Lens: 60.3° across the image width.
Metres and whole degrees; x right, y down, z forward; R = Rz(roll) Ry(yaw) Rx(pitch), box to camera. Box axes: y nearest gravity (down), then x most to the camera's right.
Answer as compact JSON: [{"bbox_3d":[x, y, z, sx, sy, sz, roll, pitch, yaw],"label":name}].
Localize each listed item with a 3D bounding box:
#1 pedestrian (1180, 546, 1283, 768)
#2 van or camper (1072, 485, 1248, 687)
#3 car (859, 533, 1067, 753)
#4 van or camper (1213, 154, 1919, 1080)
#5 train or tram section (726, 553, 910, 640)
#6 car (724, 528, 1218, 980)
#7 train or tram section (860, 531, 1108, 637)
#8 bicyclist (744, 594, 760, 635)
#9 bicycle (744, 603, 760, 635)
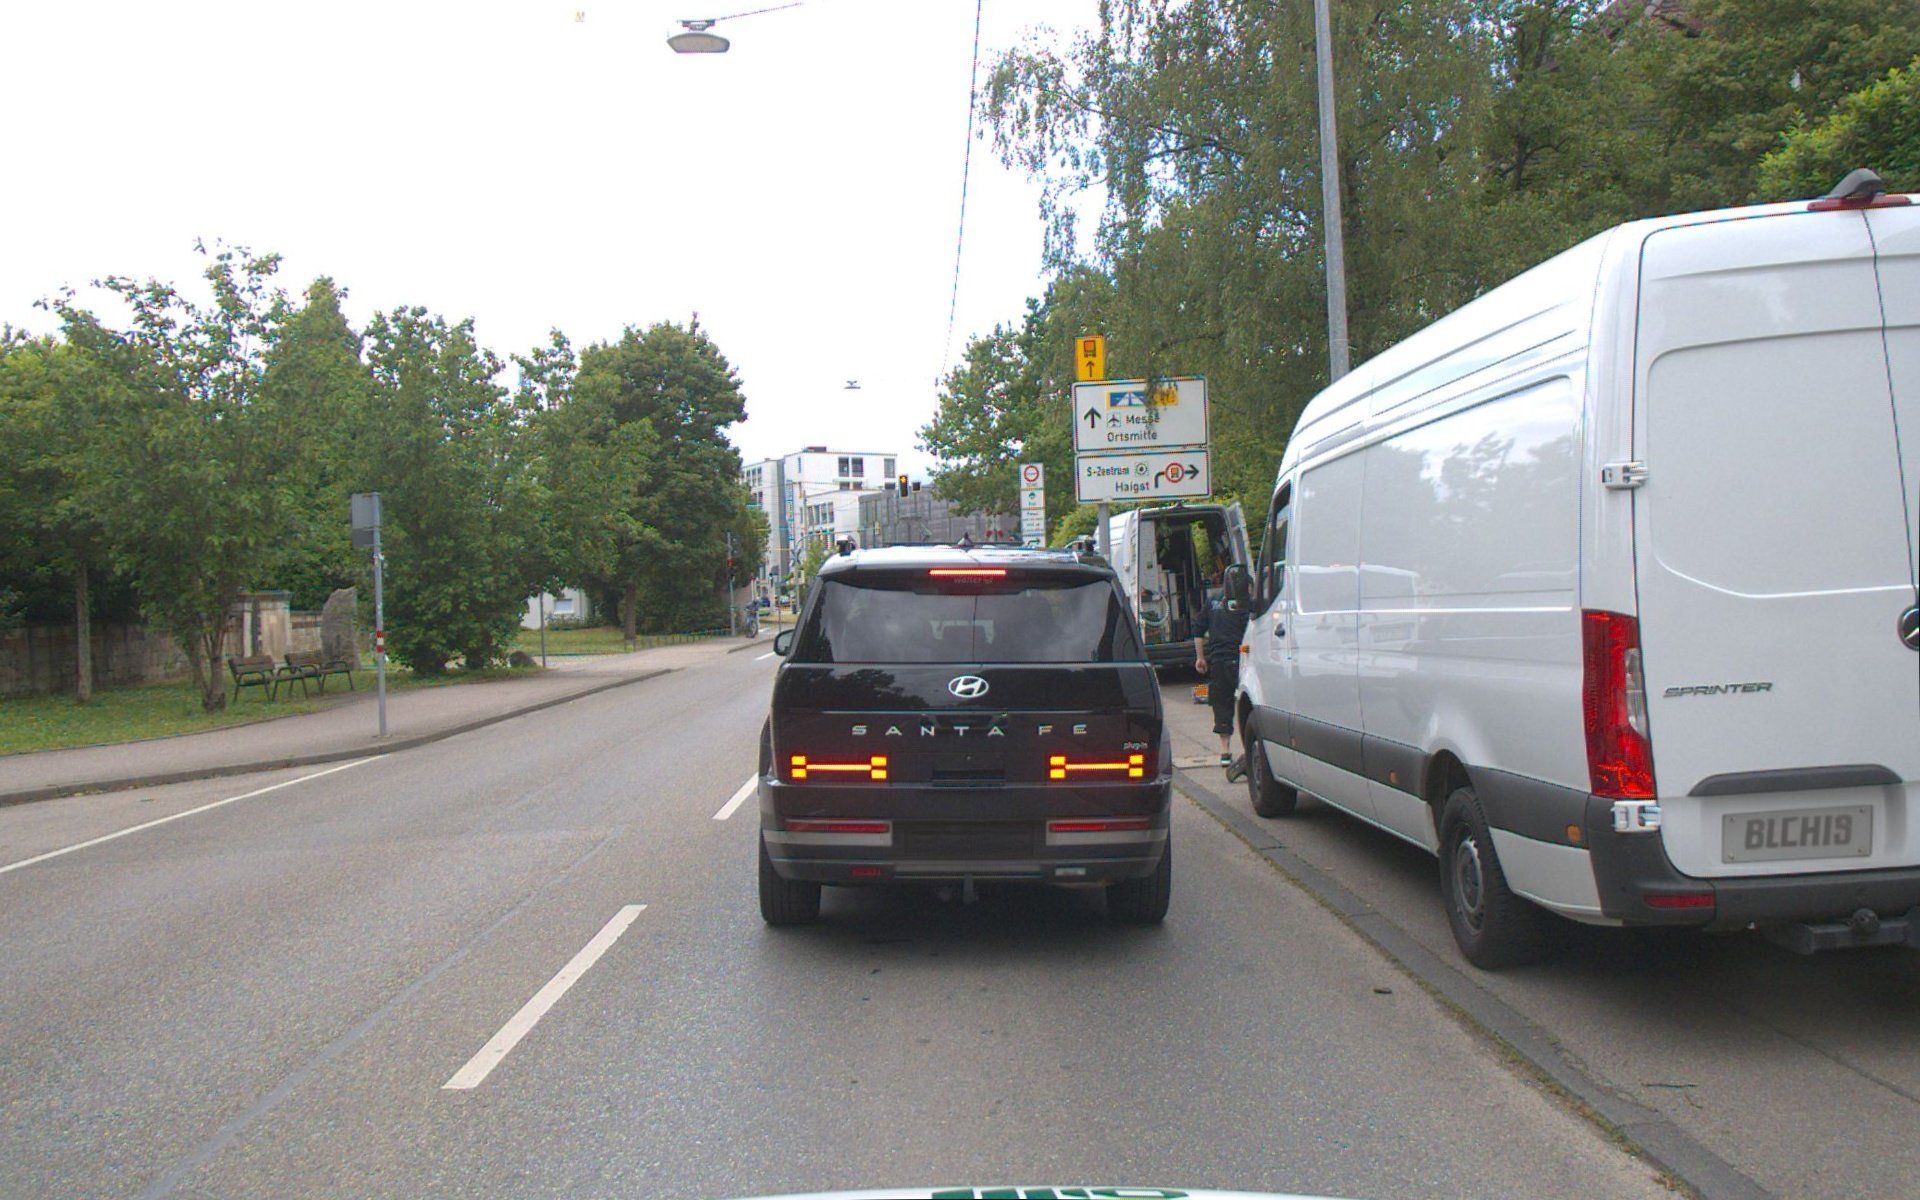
[{"bbox_3d":[2.246,0.459,13.683,0.593,1.774,0.617,-2,-1,35],"label":"pedestrian"},{"bbox_3d":[3.120,-0.220,26.919,1.924,2.845,5.285,-4,0,-2],"label":"van or camper"},{"bbox_3d":[-0.025,0.393,17.520,1.924,2.036,3.999,-1,0,-2],"label":"car"},{"bbox_3d":[2.855,0.000,8.086,1.924,2.673,6.356,-4,0,-2],"label":"van or camper"},{"bbox_3d":[-8.911,-0.019,99.099,3.161,4.602,18.483,0,-2,-31],"label":"train or tram section"},{"bbox_3d":[-0.007,0.595,8.493,1.924,1.741,3.999,-1,0,-2],"label":"car"},{"bbox_3d":[0.677,-0.546,83.226,3.161,4.602,18.480,0,-2,-31],"label":"train or tram section"},{"bbox_3d":[-8.761,0.608,69.769,0.662,1.688,0.857,0,-2,-8],"label":"bicyclist"},{"bbox_3d":[-8.762,0.812,69.733,0.662,1.302,2.496,0,-2,-8],"label":"bicycle"}]
